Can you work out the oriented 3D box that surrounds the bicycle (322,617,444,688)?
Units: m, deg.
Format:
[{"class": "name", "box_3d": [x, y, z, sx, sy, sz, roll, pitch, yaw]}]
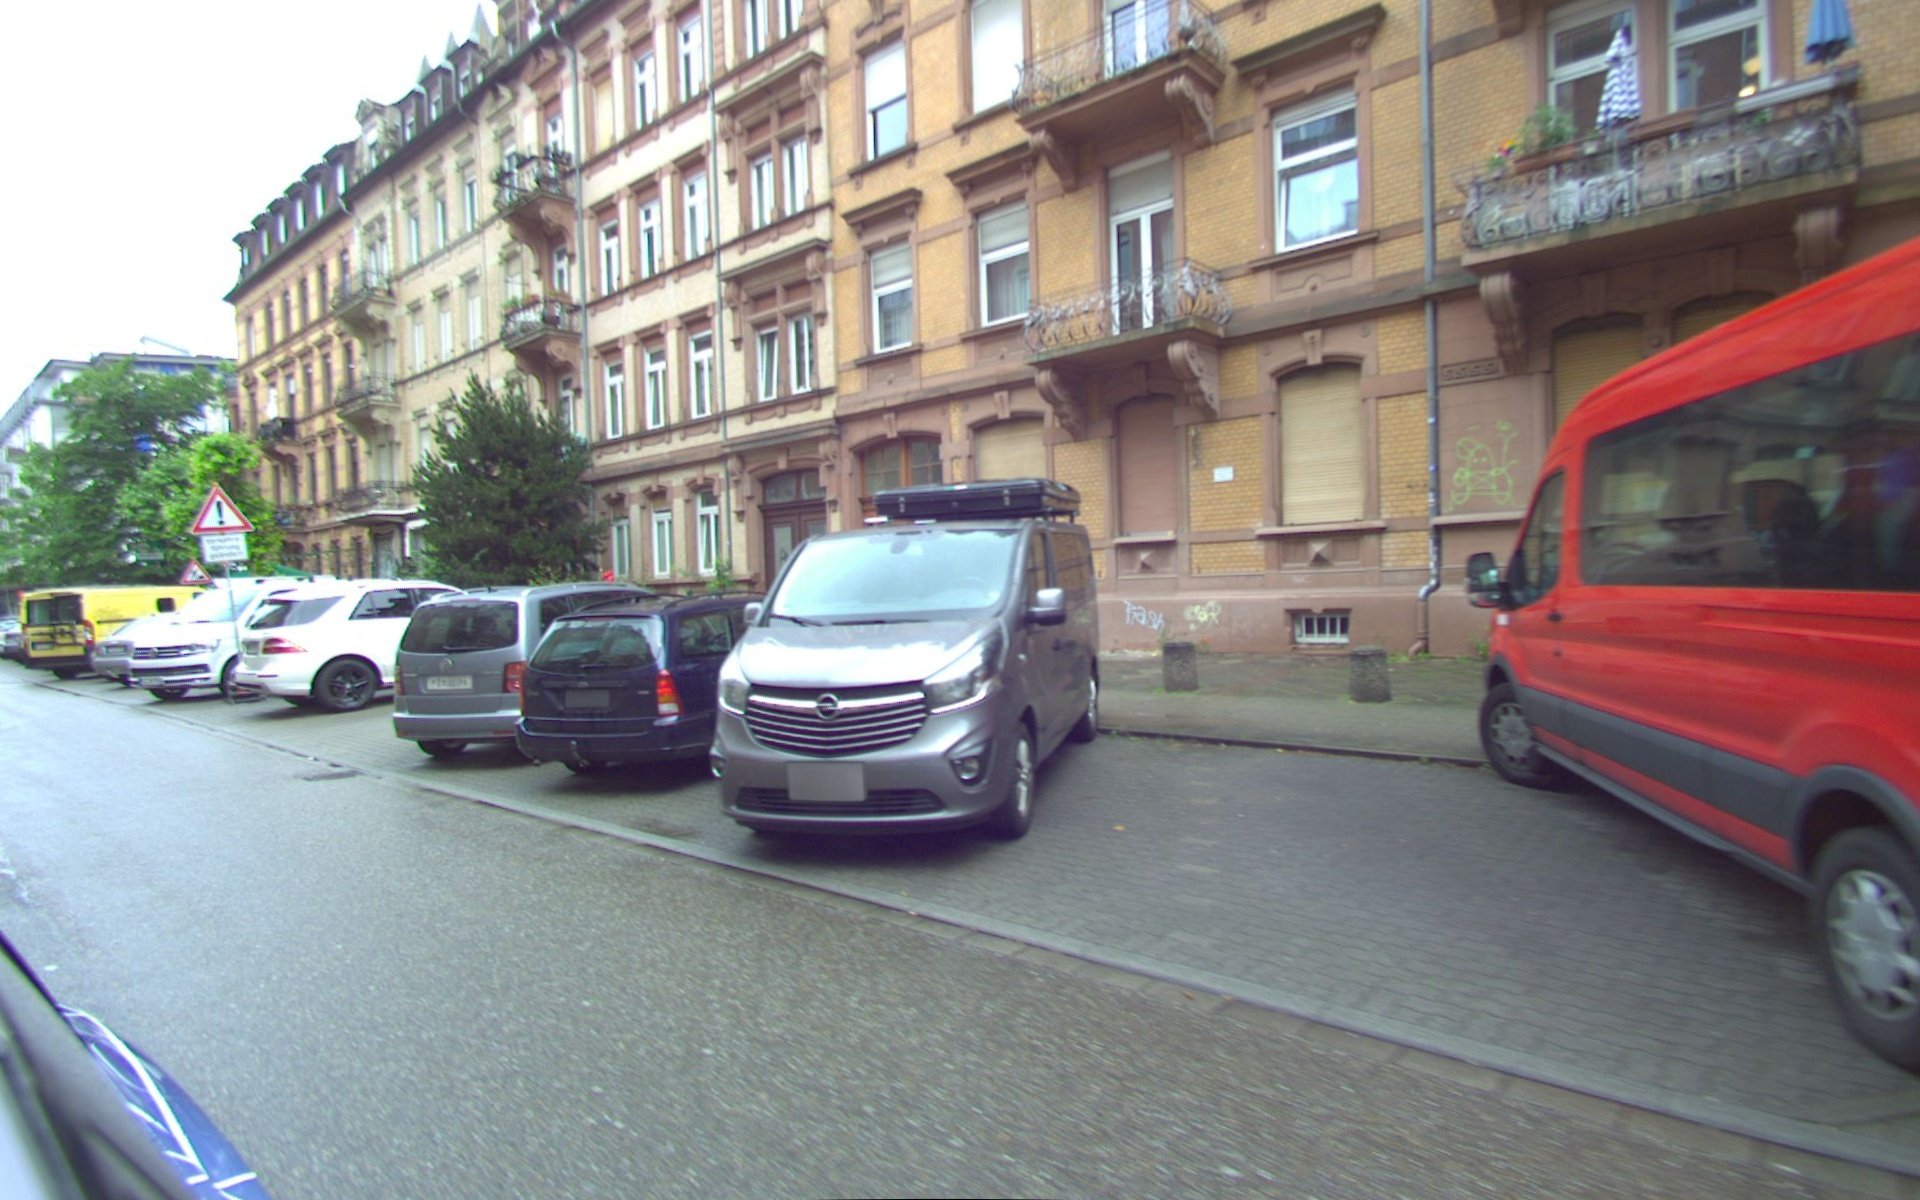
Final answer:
[{"class": "bicycle", "box_3d": [-10.494, 0.951, 18.404, 2.023, 1.183, 0.542, -2, 1, 11]}]

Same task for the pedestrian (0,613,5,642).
[{"class": "pedestrian", "box_3d": [-61.187, 1.747, 64.304, 0.595, 1.862, 0.770, -3, 1, -40]}]

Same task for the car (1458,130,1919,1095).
[{"class": "car", "box_3d": [4.047, -0.024, 4.278, 2.207, 2.560, 5.550, -2, 1, 13]}]

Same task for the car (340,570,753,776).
[{"class": "car", "box_3d": [-4.156, 0.612, 11.127, 1.827, 1.642, 4.426, -3, 3, 15]}]

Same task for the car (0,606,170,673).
[{"class": "car", "box_3d": [-27.817, 1.199, 32.248, 1.778, 1.674, 4.134, -1, 3, 5]}]

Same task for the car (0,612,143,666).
[{"class": "car", "box_3d": [-32.241, 1.367, 36.578, 1.779, 1.504, 4.132, -1, 3, 6]}]

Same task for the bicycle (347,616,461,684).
[{"class": "bicycle", "box_3d": [-10.347, 0.936, 18.828, 2.023, 1.183, 0.406, -2, 1, 11]}]

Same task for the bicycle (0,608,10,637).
[{"class": "bicycle", "box_3d": [-39.996, 0.953, 41.559, 1.665, 1.152, 0.585, -2, 2, 13]}]

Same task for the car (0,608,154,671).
[{"class": "car", "box_3d": [-30.107, 1.301, 34.428, 1.778, 1.674, 4.134, -2, 3, 5]}]

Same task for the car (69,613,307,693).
[{"class": "car", "box_3d": [-16.898, 1.106, 22.430, 1.766, 1.446, 3.985, -2, 1, 12]}]

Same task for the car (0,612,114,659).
[{"class": "car", "box_3d": [-37.750, 1.420, 41.592, 1.975, 1.575, 4.453, -1, 3, 5]}]

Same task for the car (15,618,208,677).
[{"class": "car", "box_3d": [-23.752, 1.287, 28.523, 1.807, 1.506, 3.988, -2, -1, 9]}]

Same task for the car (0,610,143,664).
[{"class": "car", "box_3d": [-34.113, 1.367, 38.433, 1.976, 1.574, 4.716, -4, 2, 7]}]

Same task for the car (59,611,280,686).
[{"class": "car", "box_3d": [-18.947, 1.117, 24.494, 1.942, 1.506, 3.907, -2, 1, 10]}]

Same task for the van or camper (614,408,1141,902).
[{"class": "van or camper", "box_3d": [-0.068, 0.247, 7.576, 2.323, 2.367, 5.002, -2, 1, 15]}]

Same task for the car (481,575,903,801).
[{"class": "car", "box_3d": [-2.188, 0.627, 9.655, 1.741, 1.515, 4.331, -3, 2, 18]}]

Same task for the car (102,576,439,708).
[{"class": "car", "box_3d": [-12.630, 0.636, 19.075, 1.854, 2.094, 5.226, -1, 1, 16]}]

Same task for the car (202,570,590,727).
[{"class": "car", "box_3d": [-8.516, 0.604, 15.601, 2.544, 1.798, 4.533, -2, 3, 40]}]

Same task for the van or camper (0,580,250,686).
[{"class": "van or camper", "box_3d": [-21.448, 0.745, 26.271, 2.160, 2.284, 4.715, -3, 2, 8]}]
